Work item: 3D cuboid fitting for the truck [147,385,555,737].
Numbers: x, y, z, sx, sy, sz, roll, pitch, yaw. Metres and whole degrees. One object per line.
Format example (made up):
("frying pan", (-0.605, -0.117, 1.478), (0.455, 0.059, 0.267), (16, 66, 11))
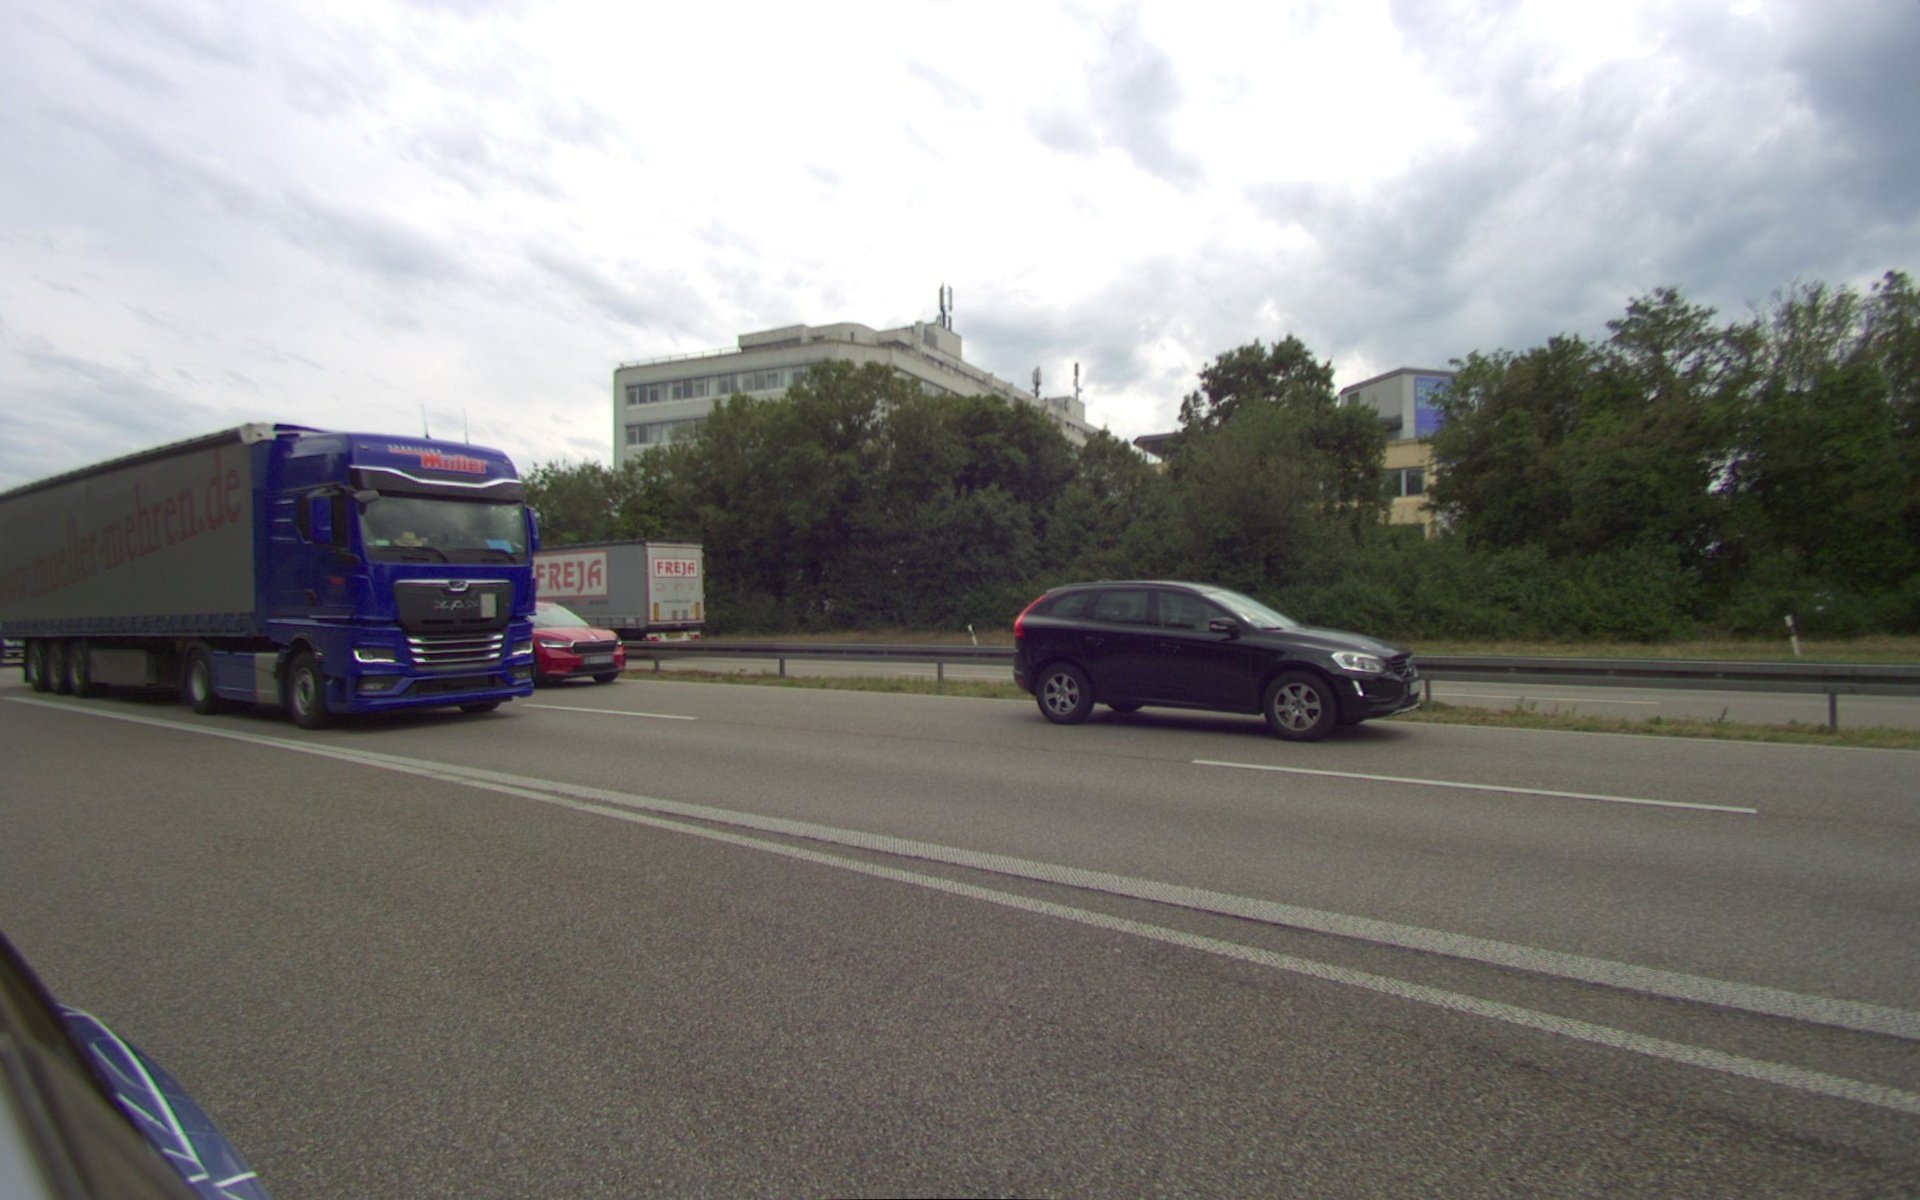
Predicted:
("truck", (-8.971, -0.444, 14.641), (6.573, 4.073, 2.539), (-1, 0, 35))

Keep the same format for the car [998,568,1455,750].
("car", (2.843, 0.587, 11.405), (4.675, 1.667, 1.730), (-1, -1, 37))

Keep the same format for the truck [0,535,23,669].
("truck", (-32.500, 0.145, 30.974), (11.296, 3.825, 2.906), (-1, -2, 33))

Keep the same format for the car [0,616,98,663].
("car", (-32.747, 1.366, 36.116), (3.988, 1.583, 1.978), (-1, -1, 33))

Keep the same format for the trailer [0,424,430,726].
("trailer", (-14.511, -0.300, 18.522), (13.431, 4.053, 2.604), (-1, 0, 35))

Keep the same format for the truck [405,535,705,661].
("truck", (-15.857, 0.058, 38.466), (14.851, 4.121, 2.959), (-1, -1, 35))

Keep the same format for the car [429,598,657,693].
("car", (-8.170, 0.838, 19.640), (4.780, 1.630, 1.975), (-2, -1, 37))
